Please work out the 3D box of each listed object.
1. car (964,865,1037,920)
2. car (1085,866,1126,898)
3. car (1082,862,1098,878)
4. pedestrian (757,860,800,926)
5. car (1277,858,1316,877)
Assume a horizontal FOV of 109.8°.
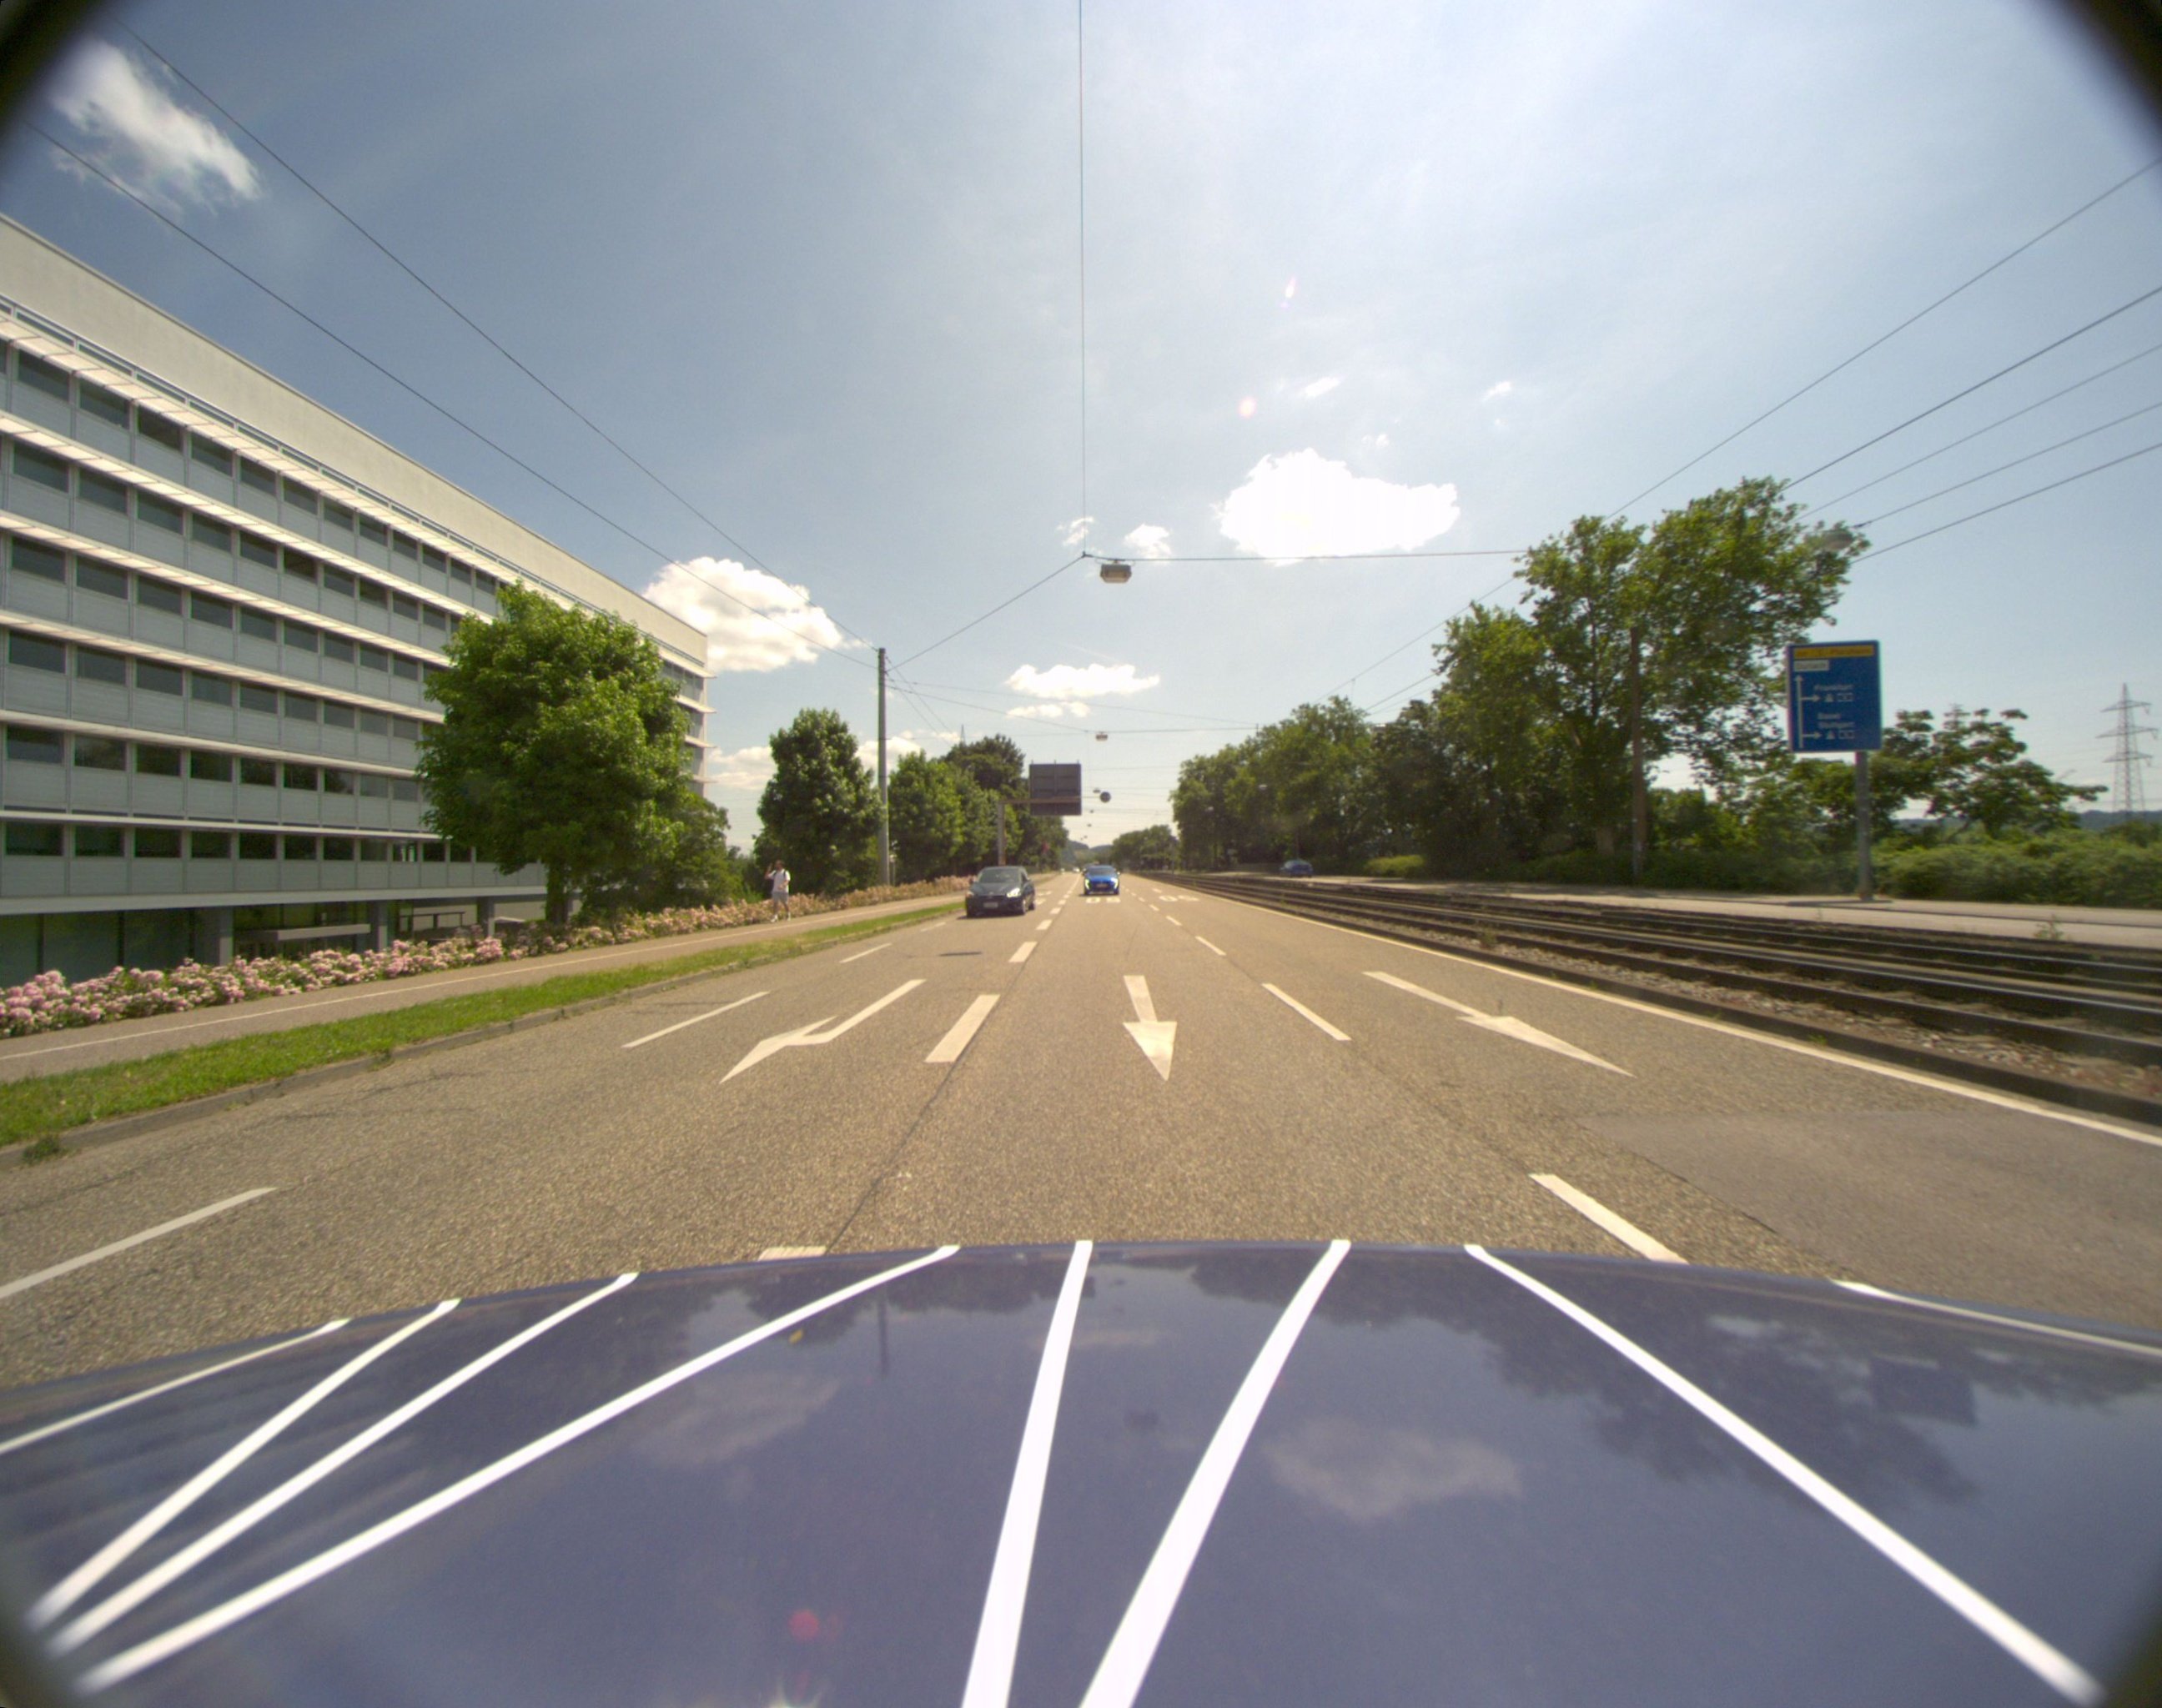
[{"bbox_3d":[-2.522,1.168,24.739,1.765,1.517,4.100,-3,0,1],"label":"car"},{"bbox_3d":[1.182,1.353,37.433,1.842,1.445,4.001,-2,-2,1],"label":"car"},{"bbox_3d":[1.251,2.121,102.407,1.998,2.001,4.000,-3,0,0],"label":"car"},{"bbox_3d":[-8.784,1.110,22.082,0.758,1.838,0.931,-2,0,3],"label":"pedestrian"},{"bbox_3d":[17.737,1.129,62.873,1.803,1.495,4.735,1,0,-1],"label":"car"}]
